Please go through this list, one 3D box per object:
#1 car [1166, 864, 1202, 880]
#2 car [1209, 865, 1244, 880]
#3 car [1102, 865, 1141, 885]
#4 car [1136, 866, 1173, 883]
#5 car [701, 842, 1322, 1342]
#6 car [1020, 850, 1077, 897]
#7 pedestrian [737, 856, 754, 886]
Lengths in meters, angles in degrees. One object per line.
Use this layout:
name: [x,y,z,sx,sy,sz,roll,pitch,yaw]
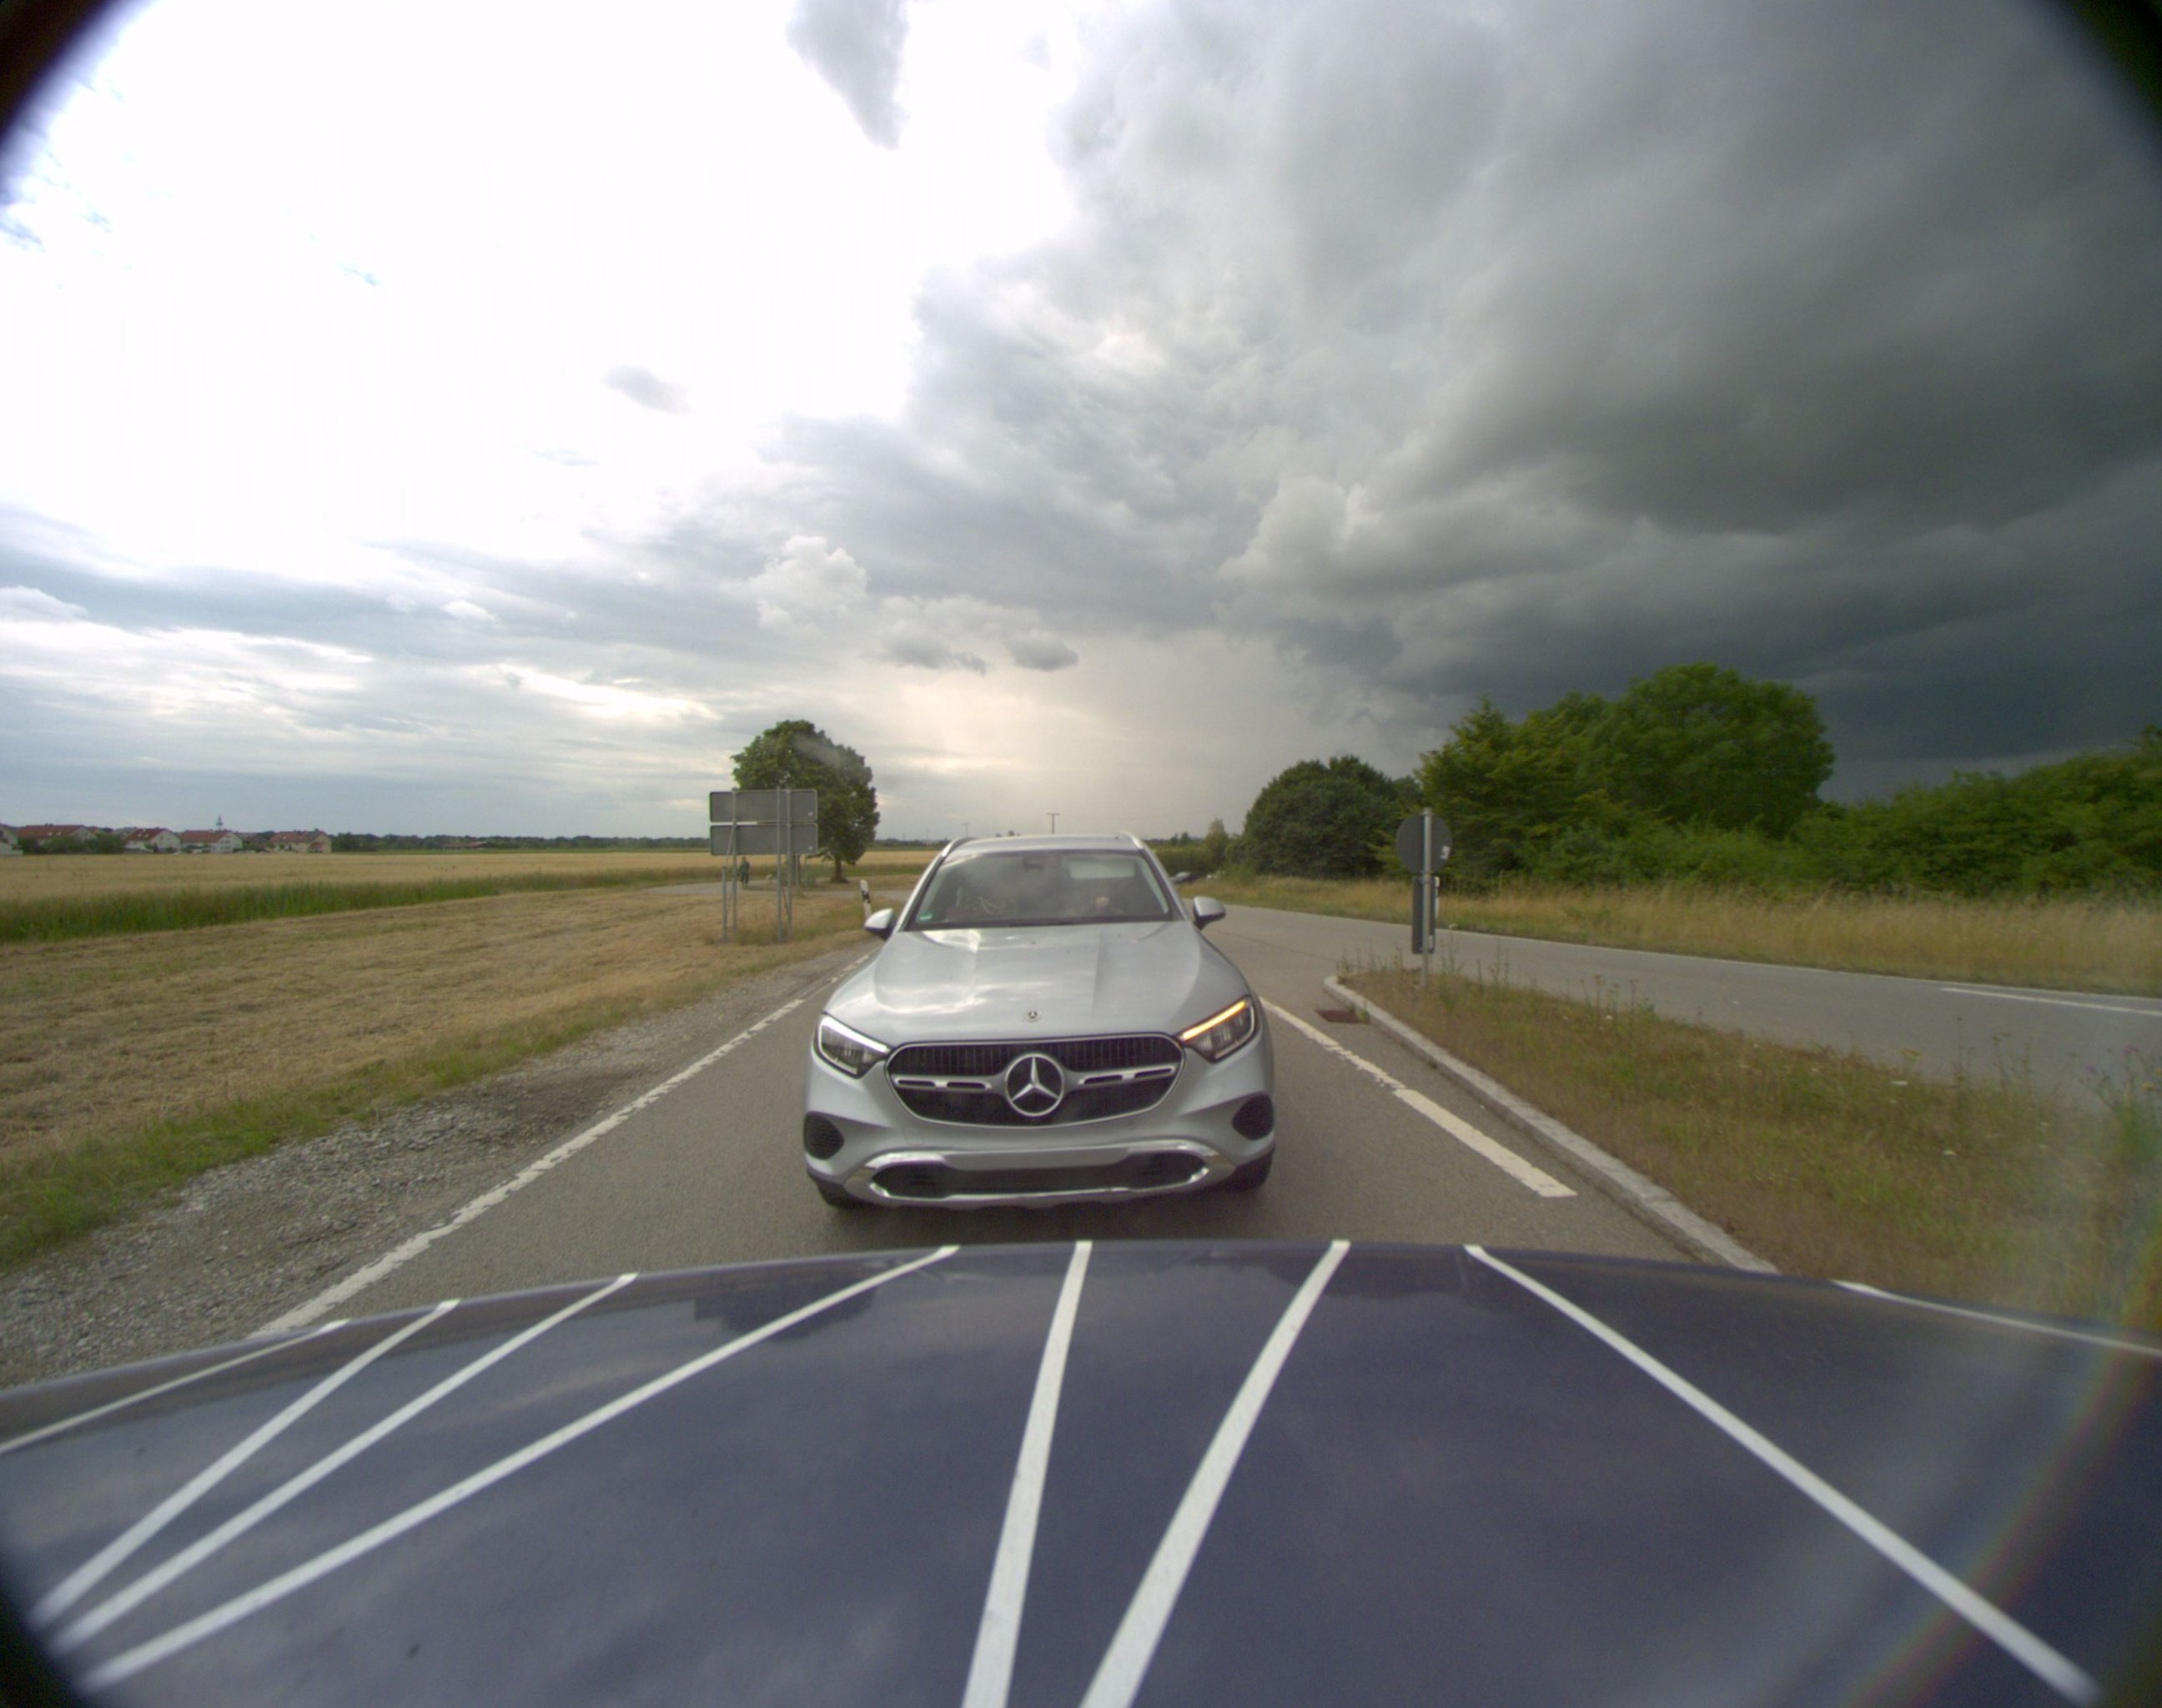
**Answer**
car: [10.559,1.802,77.951,1.817,1.524,4.008,1,1,39]
car: [15.875,2.016,82.957,4.008,1.524,1.817,-1,1,-44]
car: [3.593,1.837,67.389,1.817,1.524,4.007,0,1,30]
car: [7.136,1.959,73.638,1.817,1.524,4.008,1,1,34]
car: [-0.242,0.760,4.728,1.996,1.577,4.393,-2,1,-1]
car: [-1.153,0.610,25.930,1.721,1.345,4.212,-3,1,-3]
pedestrian: [-18.497,0.918,41.918,0.774,1.602,0.943,-1,1,-21]
